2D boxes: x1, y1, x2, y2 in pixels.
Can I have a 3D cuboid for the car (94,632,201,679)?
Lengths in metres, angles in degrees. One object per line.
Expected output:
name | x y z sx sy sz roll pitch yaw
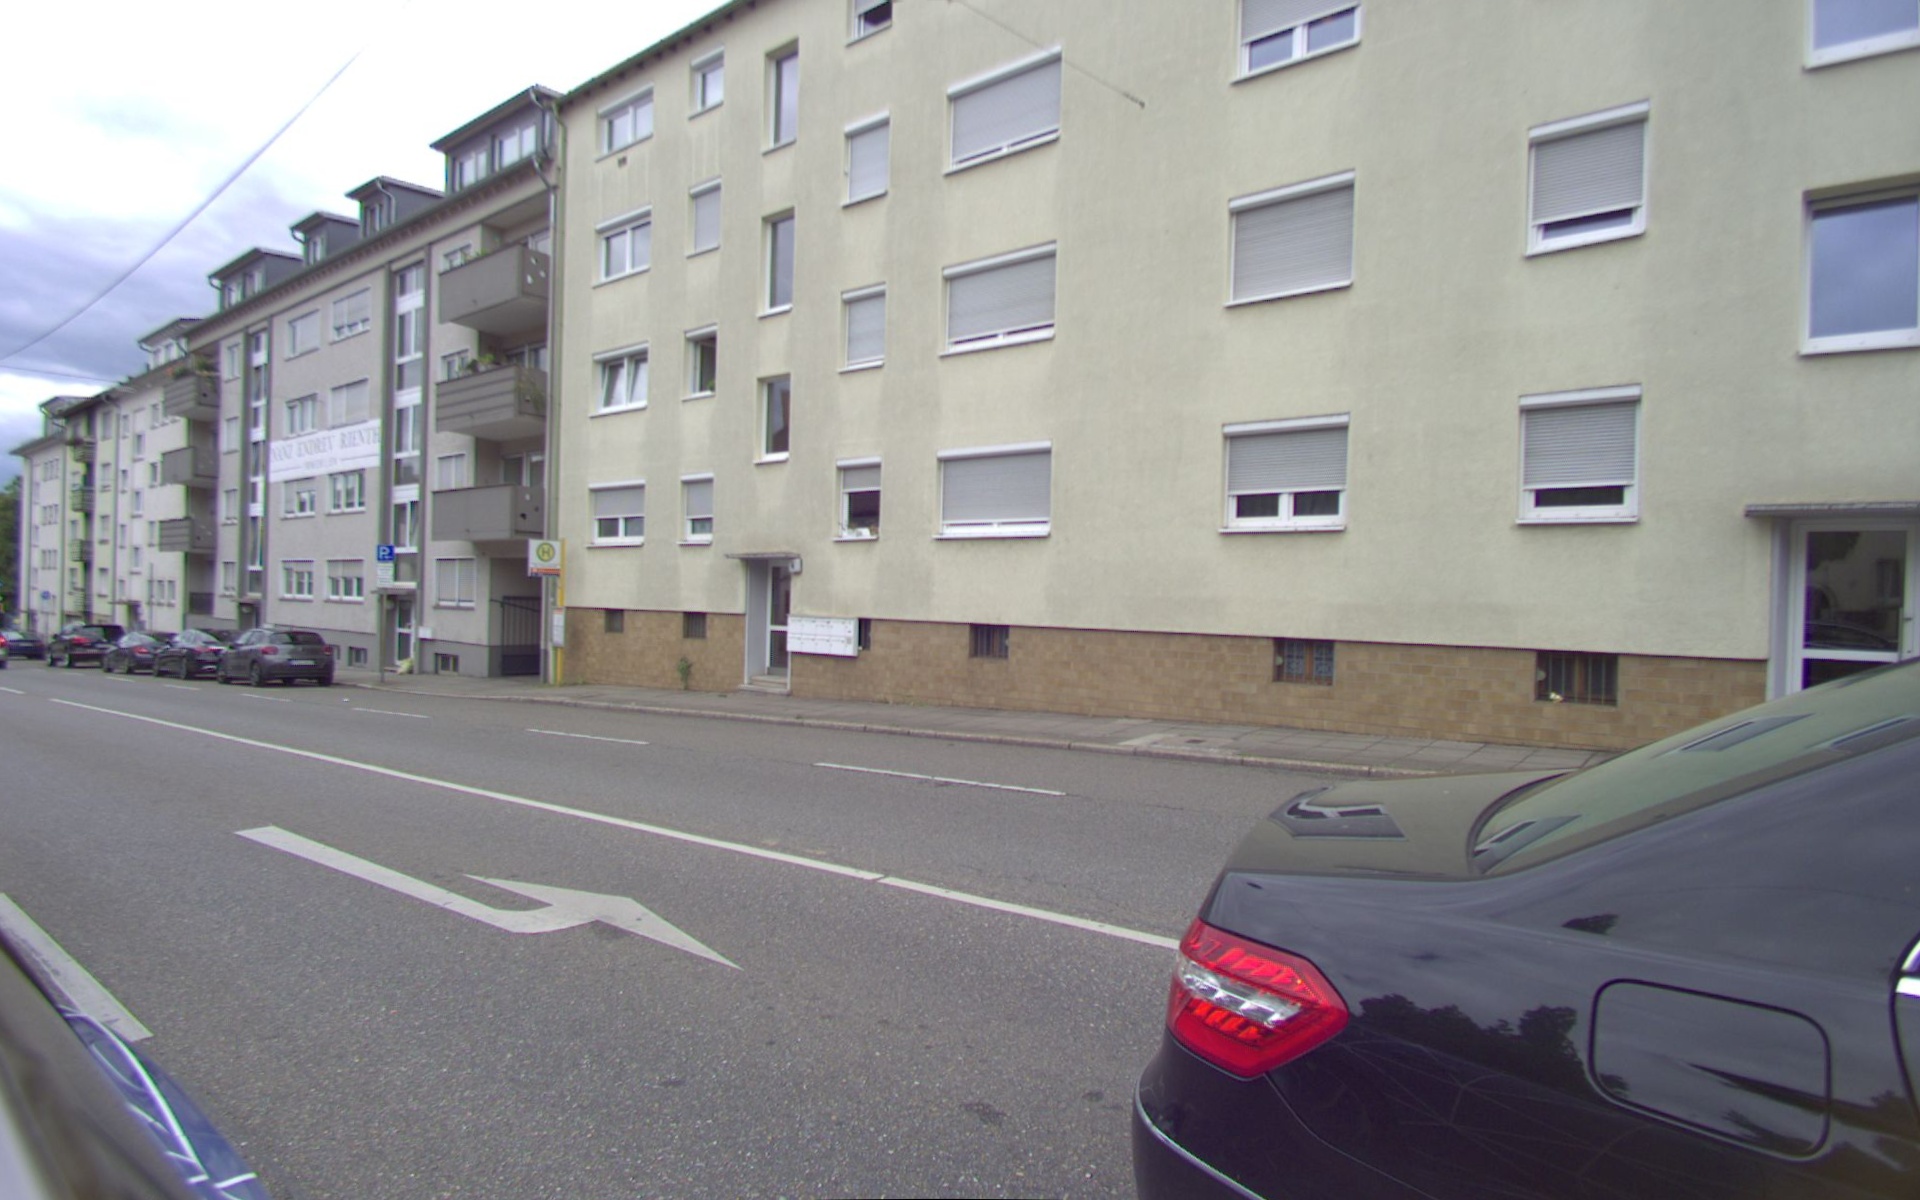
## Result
car | -26.469 1.781 32.923 4.301 1.416 1.751 -1 -3 38

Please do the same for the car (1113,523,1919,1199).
car | 2.467 0.645 0.740 4.444 1.465 1.729 -1 -1 41

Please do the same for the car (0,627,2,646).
car | -35.583 1.706 35.911 3.996 1.630 1.692 -1 -6 39

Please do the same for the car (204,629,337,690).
car | -17.806 1.509 26.094 3.797 1.447 1.751 -1 -4 39

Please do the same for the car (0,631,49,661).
car | -46.408 2.253 49.713 4.305 1.391 1.851 -1 -4 41

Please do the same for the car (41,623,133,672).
car | -33.574 1.826 38.883 4.302 1.767 1.852 -1 -4 39
